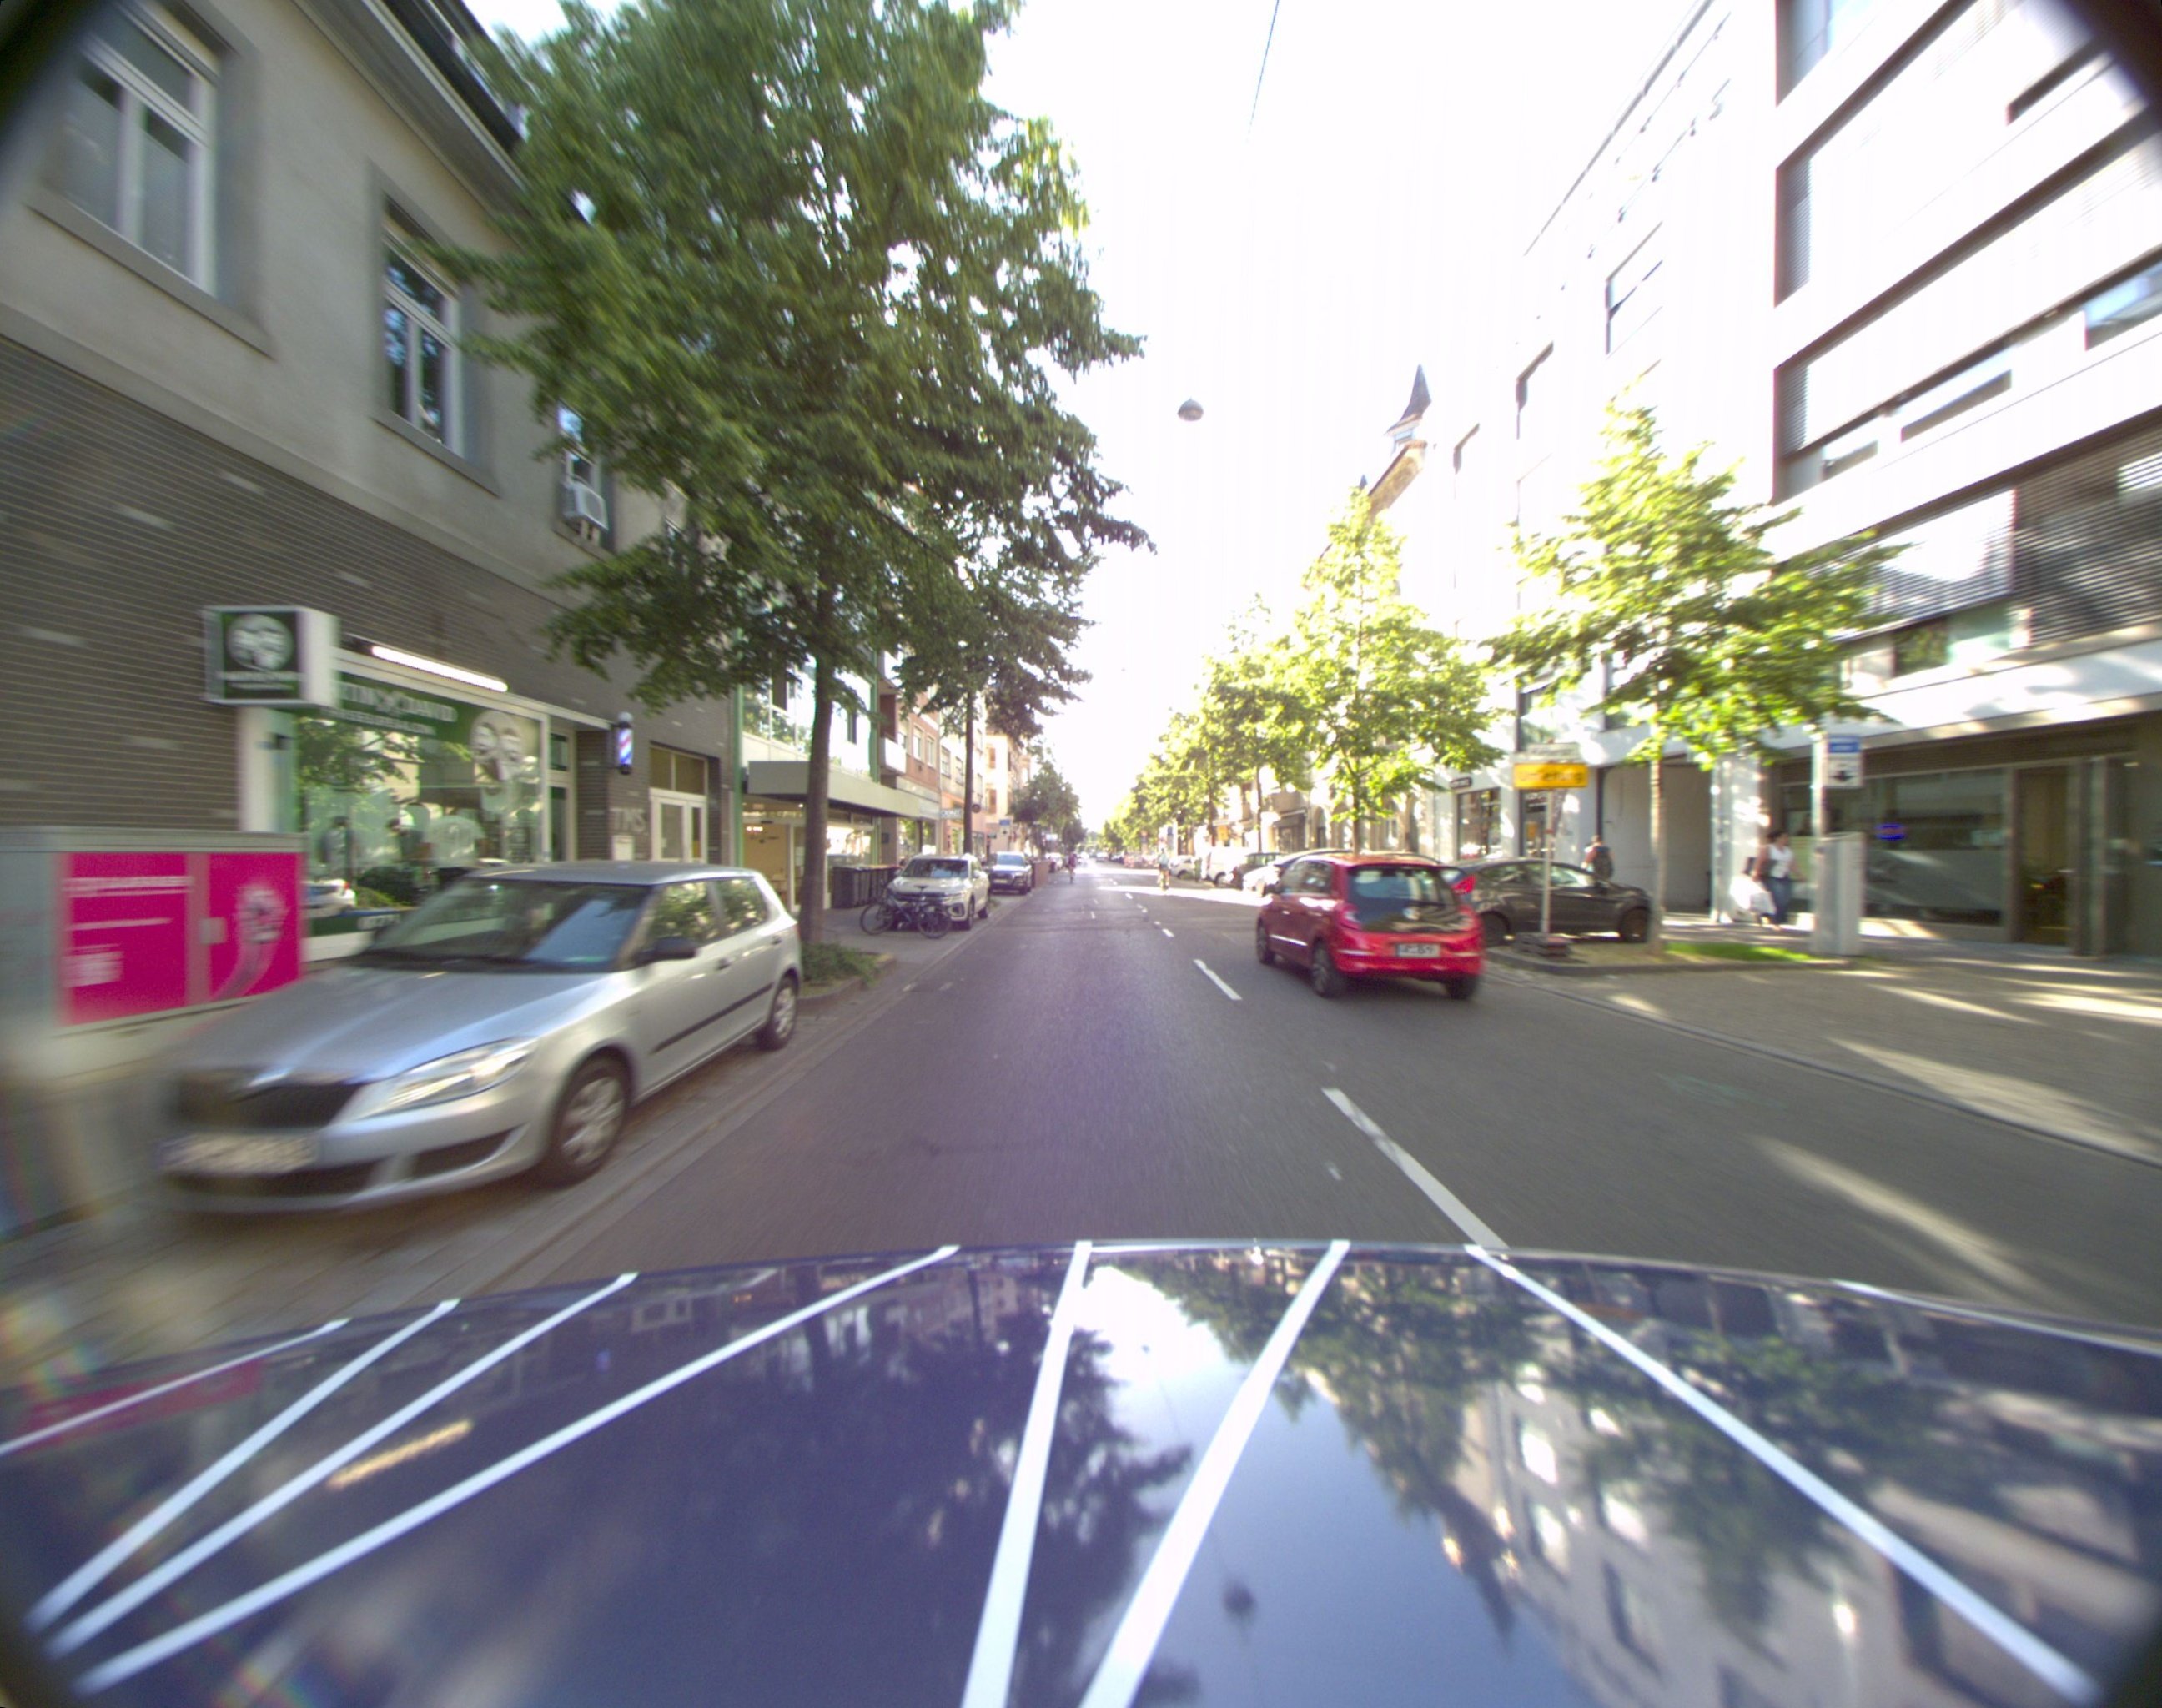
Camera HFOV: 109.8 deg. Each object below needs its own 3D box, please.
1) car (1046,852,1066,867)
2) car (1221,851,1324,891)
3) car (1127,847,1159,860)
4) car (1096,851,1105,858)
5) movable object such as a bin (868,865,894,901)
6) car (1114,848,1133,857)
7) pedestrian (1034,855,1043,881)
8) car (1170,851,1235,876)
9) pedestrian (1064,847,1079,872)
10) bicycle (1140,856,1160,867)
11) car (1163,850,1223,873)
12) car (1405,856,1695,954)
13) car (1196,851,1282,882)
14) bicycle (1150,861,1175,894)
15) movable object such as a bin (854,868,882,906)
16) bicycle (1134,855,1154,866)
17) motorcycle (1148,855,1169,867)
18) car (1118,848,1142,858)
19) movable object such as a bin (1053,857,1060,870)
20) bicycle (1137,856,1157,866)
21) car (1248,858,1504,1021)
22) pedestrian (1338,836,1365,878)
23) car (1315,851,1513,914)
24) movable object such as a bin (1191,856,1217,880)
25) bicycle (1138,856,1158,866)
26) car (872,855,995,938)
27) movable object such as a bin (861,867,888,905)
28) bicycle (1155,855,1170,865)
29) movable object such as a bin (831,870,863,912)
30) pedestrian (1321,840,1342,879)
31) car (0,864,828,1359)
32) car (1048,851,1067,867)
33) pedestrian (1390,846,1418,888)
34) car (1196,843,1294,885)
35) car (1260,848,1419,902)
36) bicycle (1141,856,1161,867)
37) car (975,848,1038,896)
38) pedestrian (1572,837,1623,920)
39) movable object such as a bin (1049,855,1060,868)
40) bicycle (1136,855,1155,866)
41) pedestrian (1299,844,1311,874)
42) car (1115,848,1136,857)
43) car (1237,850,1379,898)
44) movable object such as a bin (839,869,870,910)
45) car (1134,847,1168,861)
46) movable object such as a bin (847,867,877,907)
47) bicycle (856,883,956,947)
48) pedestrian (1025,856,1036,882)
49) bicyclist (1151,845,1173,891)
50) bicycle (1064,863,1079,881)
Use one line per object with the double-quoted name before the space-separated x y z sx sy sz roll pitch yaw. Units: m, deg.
"car" -2.525 0.562 77.087 1.835 1.410 4.159 1 0 0
"car" 7.862 0.667 31.377 3.809 1.549 1.791 -1 0 1
"car" 8.466 -0.082 103.345 4.135 1.670 2.000 -1 1 -1
"car" 4.112 0.124 158.775 1.835 1.410 3.833 0 0 0
"movable object such as a bin" -5.965 0.867 22.696 0.612 1.058 0.589 0 1 2
"car" 9.362 -0.311 168.480 4.135 1.792 1.911 -1 1 -1
"pedestrian" -2.472 0.803 44.494 0.474 1.520 0.462 -1 1 1
"car" 7.714 0.615 48.486 3.788 1.455 1.709 -1 0 -2
"pedestrian" -0.558 0.326 42.828 0.804 1.381 0.931 -2 0 -1
"bicycle" 7.101 0.764 78.624 2.006 1.023 0.473 -2 1 -12
"car" 7.971 0.536 54.305 4.008 1.456 1.748 -2 2 0
"car" 7.703 0.791 12.726 3.790 1.450 1.780 -1 0 -3
"car" 7.936 0.618 38.450 3.989 1.455 1.887 -1 0 1
"bicycle" 3.053 0.875 28.695 0.727 1.162 2.197 -1 0 1
"movable object such as a bin" -5.996 0.917 21.446 0.615 1.058 0.589 0 1 1
"bicycle" 6.671 0.697 80.500 2.006 1.023 0.473 -2 1 -12
"motorcycle" 7.856 0.707 77.334 2.004 1.178 0.740 -2 0 -2
"car" 8.774 -0.147 136.615 4.135 1.792 1.911 -1 1 -1
"movable object such as a bin" -2.184 0.840 67.803 0.634 1.062 0.602 1 3 2
"bicycle" 6.884 0.712 79.596 2.006 1.023 0.473 -2 1 -12
"car" 3.282 0.842 9.269 1.662 1.526 3.760 1 0 1
"pedestrian" 11.730 0.112 32.960 0.776 1.756 0.763 -5 1 -2
"car" 8.482 0.691 19.605 4.257 1.450 1.979 -1 0 -3
"movable object such as a bin" 6.807 0.768 42.086 1.240 1.295 0.870 -1 1 -1
"bicycle" 6.992 0.738 79.102 2.006 1.023 0.473 -2 1 -12
"car" -3.096 0.831 16.852 1.888 1.518 4.233 2 0 0
"movable object such as a bin" -5.983 0.917 22.053 0.615 1.058 0.589 0 1 1
"bicycle" 8.501 0.632 79.322 1.513 0.945 0.360 -2 1 41
"movable object such as a bin" -6.047 0.939 19.630 0.615 1.058 0.655 0 1 2
"pedestrian" 10.853 0.235 32.934 0.566 1.617 0.727 -5 1 -2
"car" -3.091 0.901 4.664 1.618 1.520 4.234 3 0 0
"car" -2.552 0.552 82.267 1.835 1.641 4.159 1 0 1
"pedestrian" 11.649 0.464 27.409 0.594 1.485 0.842 -3 1 2
"car" 7.638 0.457 35.676 4.115 1.825 2.038 -1 0 1
"car" 8.122 0.640 24.190 4.377 1.561 1.980 -1 0 1
"bicycle" 7.189 0.750 78.086 2.006 1.023 0.473 -2 1 -12
"car" -2.869 0.667 30.193 1.999 1.680 4.516 3 0 0
"pedestrian" 11.358 0.526 16.740 0.700 1.787 0.746 -1 1 12
"movable object such as a bin" -2.416 0.702 69.494 0.944 1.207 0.699 1 2 1
"bicycle" 6.788 0.703 80.019 2.006 1.023 0.473 -2 1 -12
"pedestrian" 12.351 0.266 41.923 0.434 1.662 0.639 -1 1 3
"car" 9.270 -0.257 157.352 4.135 1.792 1.911 -1 1 -1
"car" 7.838 0.662 26.555 4.377 1.561 1.946 -1 0 1
"movable object such as a bin" -6.033 0.933 20.245 0.615 1.058 0.589 0 1 1
"car" 8.946 -0.036 97.830 4.135 1.670 2.000 -1 1 -1
"movable object such as a bin" -6.002 0.906 20.851 0.615 1.058 0.589 0 1 1
"bicycle" -3.178 1.106 13.862 1.626 1.007 0.611 4 0 -1
"pedestrian" -2.779 0.831 41.757 0.553 1.371 0.594 -1 1 1
"bicyclist" 3.041 0.522 28.656 0.727 1.690 1.282 -1 1 1
"bicycle" -0.530 1.023 42.785 0.805 0.958 1.996 -2 0 -1
